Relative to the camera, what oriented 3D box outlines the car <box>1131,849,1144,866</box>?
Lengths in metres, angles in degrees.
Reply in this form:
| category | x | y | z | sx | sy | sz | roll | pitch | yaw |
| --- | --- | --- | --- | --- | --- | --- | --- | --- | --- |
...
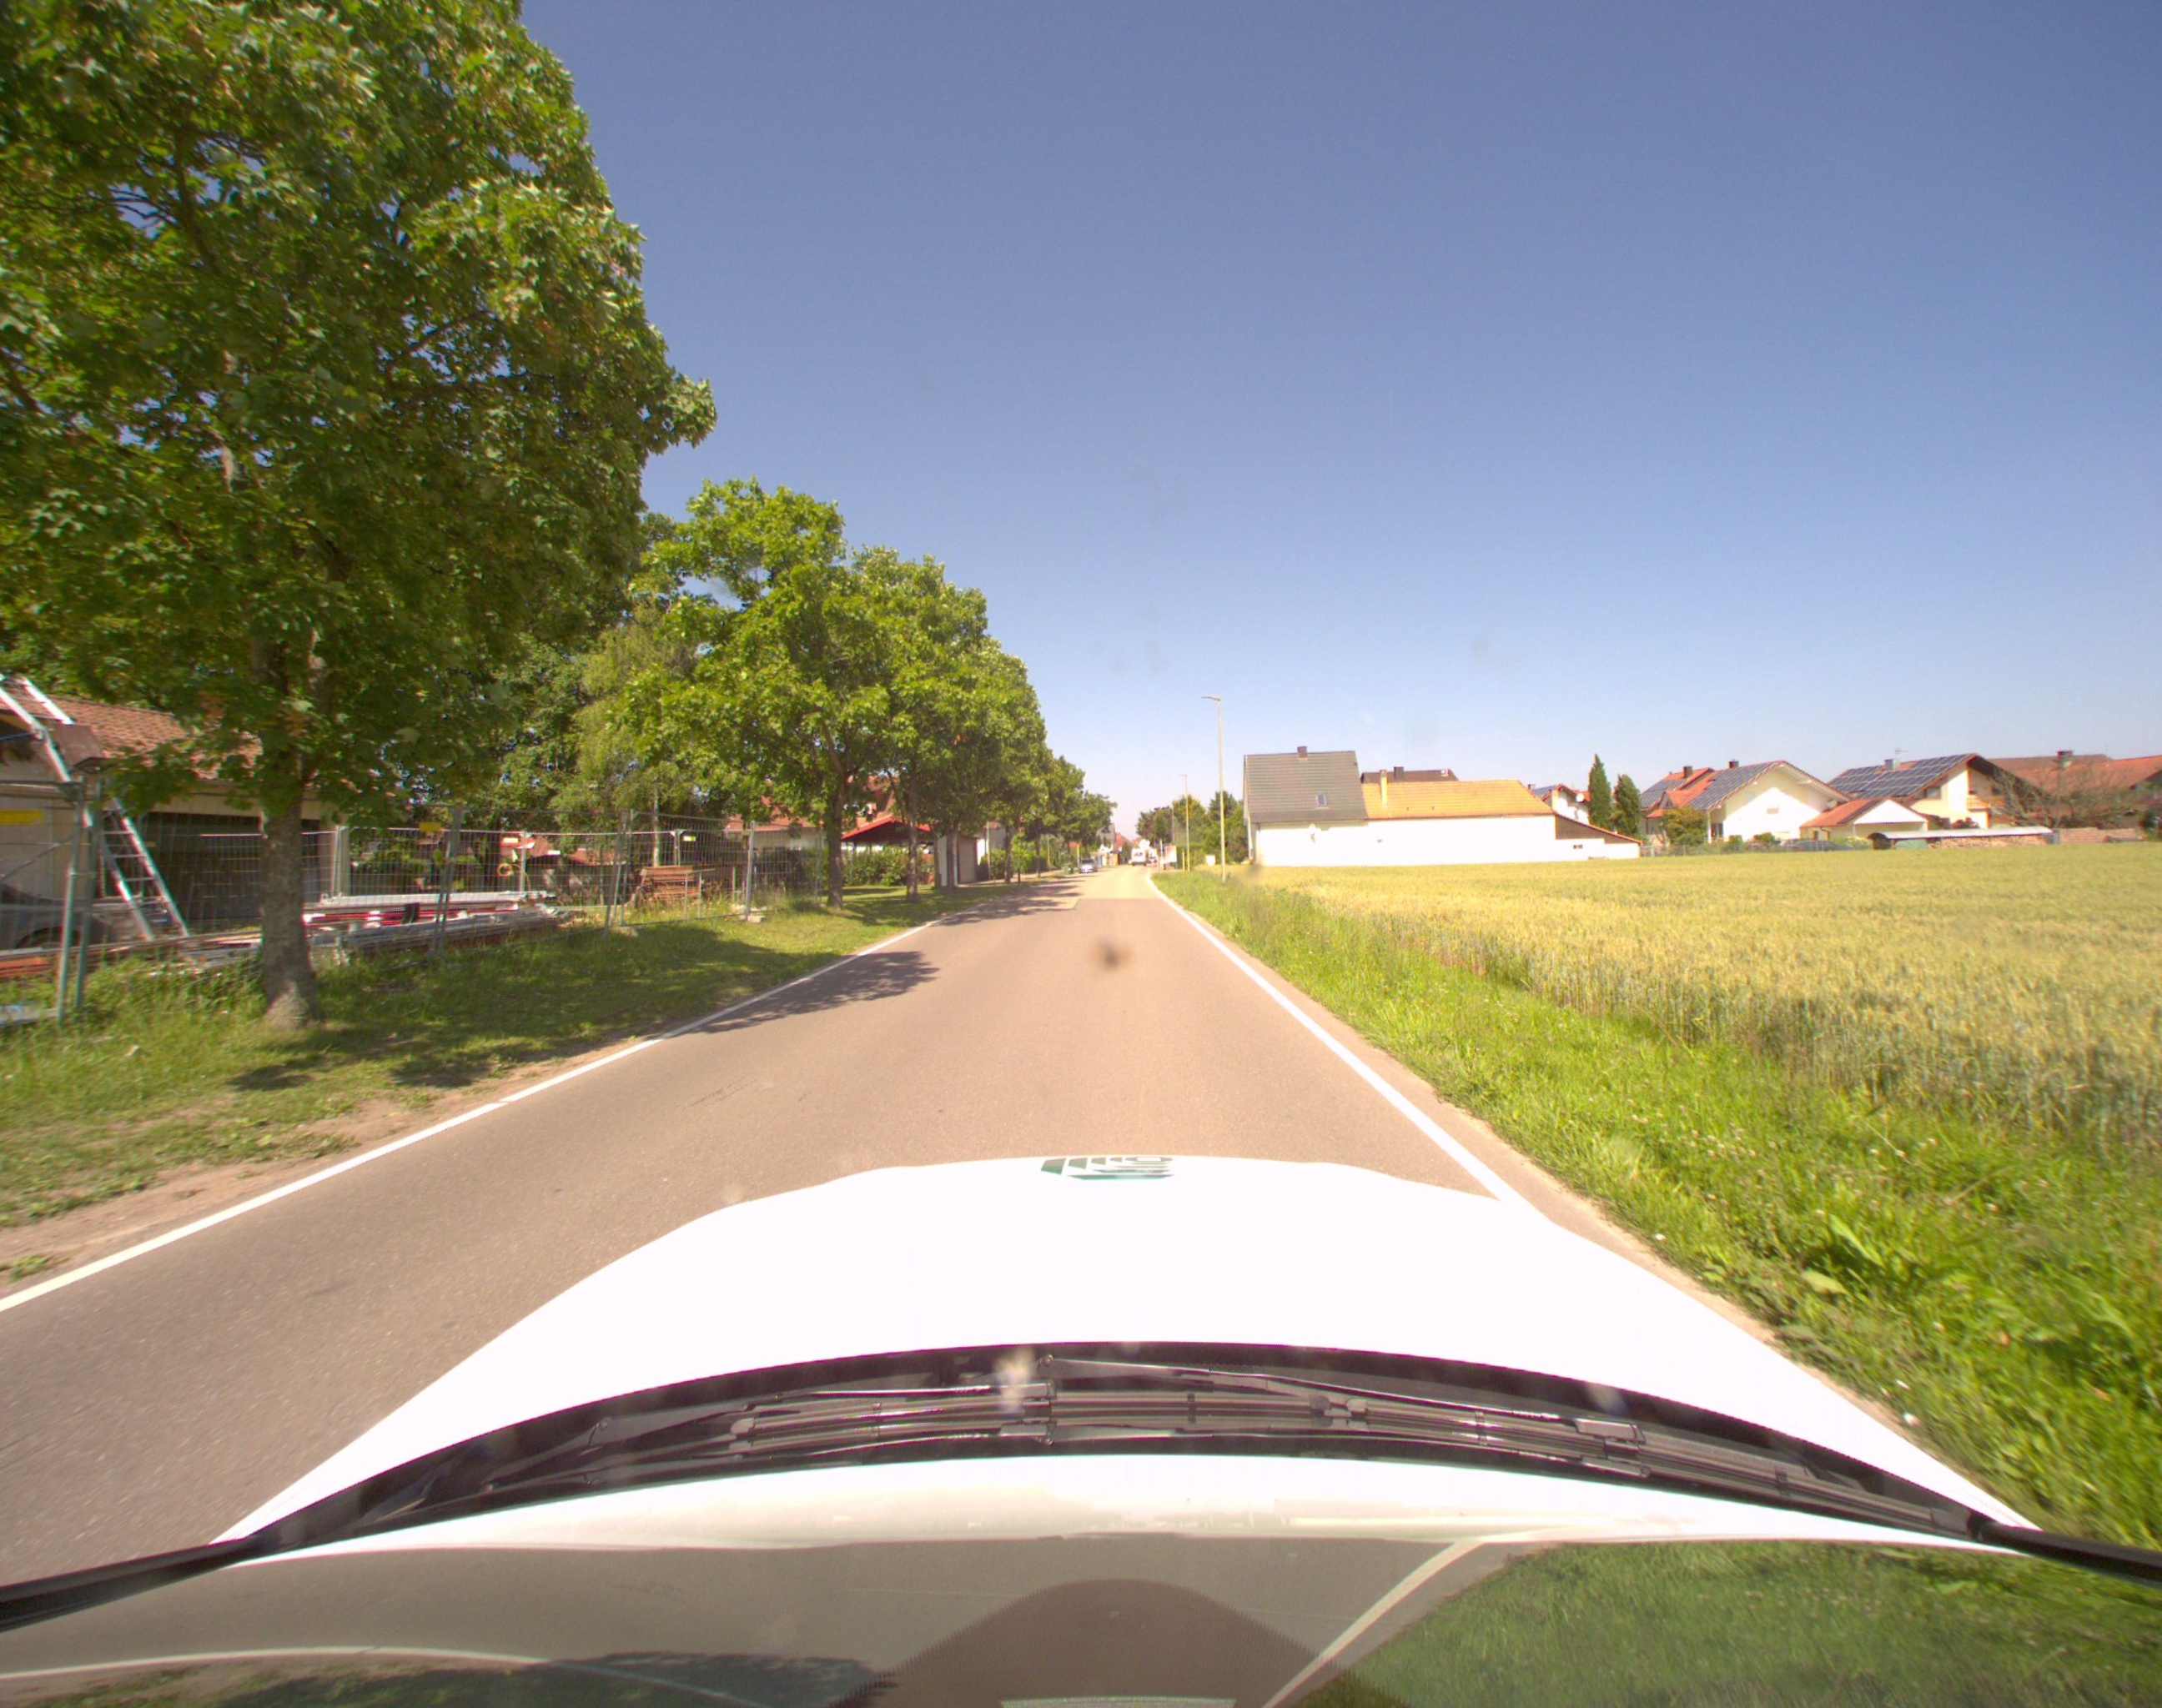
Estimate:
| category | x | y | z | sx | sy | sz | roll | pitch | yaw |
| --- | --- | --- | --- | --- | --- | --- | --- | --- | --- |
| car | 8.465 | 0.527 | 121.083 | 1.730 | 2.432 | 4.379 | -2 | -1 | 5 |

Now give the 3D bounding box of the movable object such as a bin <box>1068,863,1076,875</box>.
| category | x | y | z | sx | sy | sz | roll | pitch | yaw |
| --- | --- | --- | --- | --- | --- | --- | --- | --- | --- |
| movable object such as a bin | -0.890 | 1.394 | 77.354 | 0.570 | 1.079 | 0.601 | -2 | -1 | 17 |

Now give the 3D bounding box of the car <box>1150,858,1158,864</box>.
| category | x | y | z | sx | sy | sz | roll | pitch | yaw |
| --- | --- | --- | --- | --- | --- | --- | --- | --- | --- |
| car | 19.937 | 1.902 | 221.942 | 1.828 | 1.753 | 3.798 | -2 | 0 | 3 |

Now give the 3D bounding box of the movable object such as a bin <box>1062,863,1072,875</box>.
| category | x | y | z | sx | sy | sz | roll | pitch | yaw |
| --- | --- | --- | --- | --- | --- | --- | --- | --- | --- |
| movable object such as a bin | -1.338 | 1.429 | 76.683 | 0.706 | 1.079 | 0.644 | -2 | -1 | 29 |

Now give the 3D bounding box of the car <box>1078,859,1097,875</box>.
| category | x | y | z | sx | sy | sz | roll | pitch | yaw |
| --- | --- | --- | --- | --- | --- | --- | --- | --- | --- |
| car | 0.689 | 1.290 | 82.011 | 1.640 | 1.424 | 4.083 | -4 | -1 | 3 |

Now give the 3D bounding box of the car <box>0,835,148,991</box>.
| category | x | y | z | sx | sy | sz | roll | pitch | yaw |
| --- | --- | --- | --- | --- | --- | --- | --- | --- | --- |
| car | -13.730 | 0.714 | 8.902 | 1.963 | 1.838 | 4.330 | -1 | 0 | 2 |
